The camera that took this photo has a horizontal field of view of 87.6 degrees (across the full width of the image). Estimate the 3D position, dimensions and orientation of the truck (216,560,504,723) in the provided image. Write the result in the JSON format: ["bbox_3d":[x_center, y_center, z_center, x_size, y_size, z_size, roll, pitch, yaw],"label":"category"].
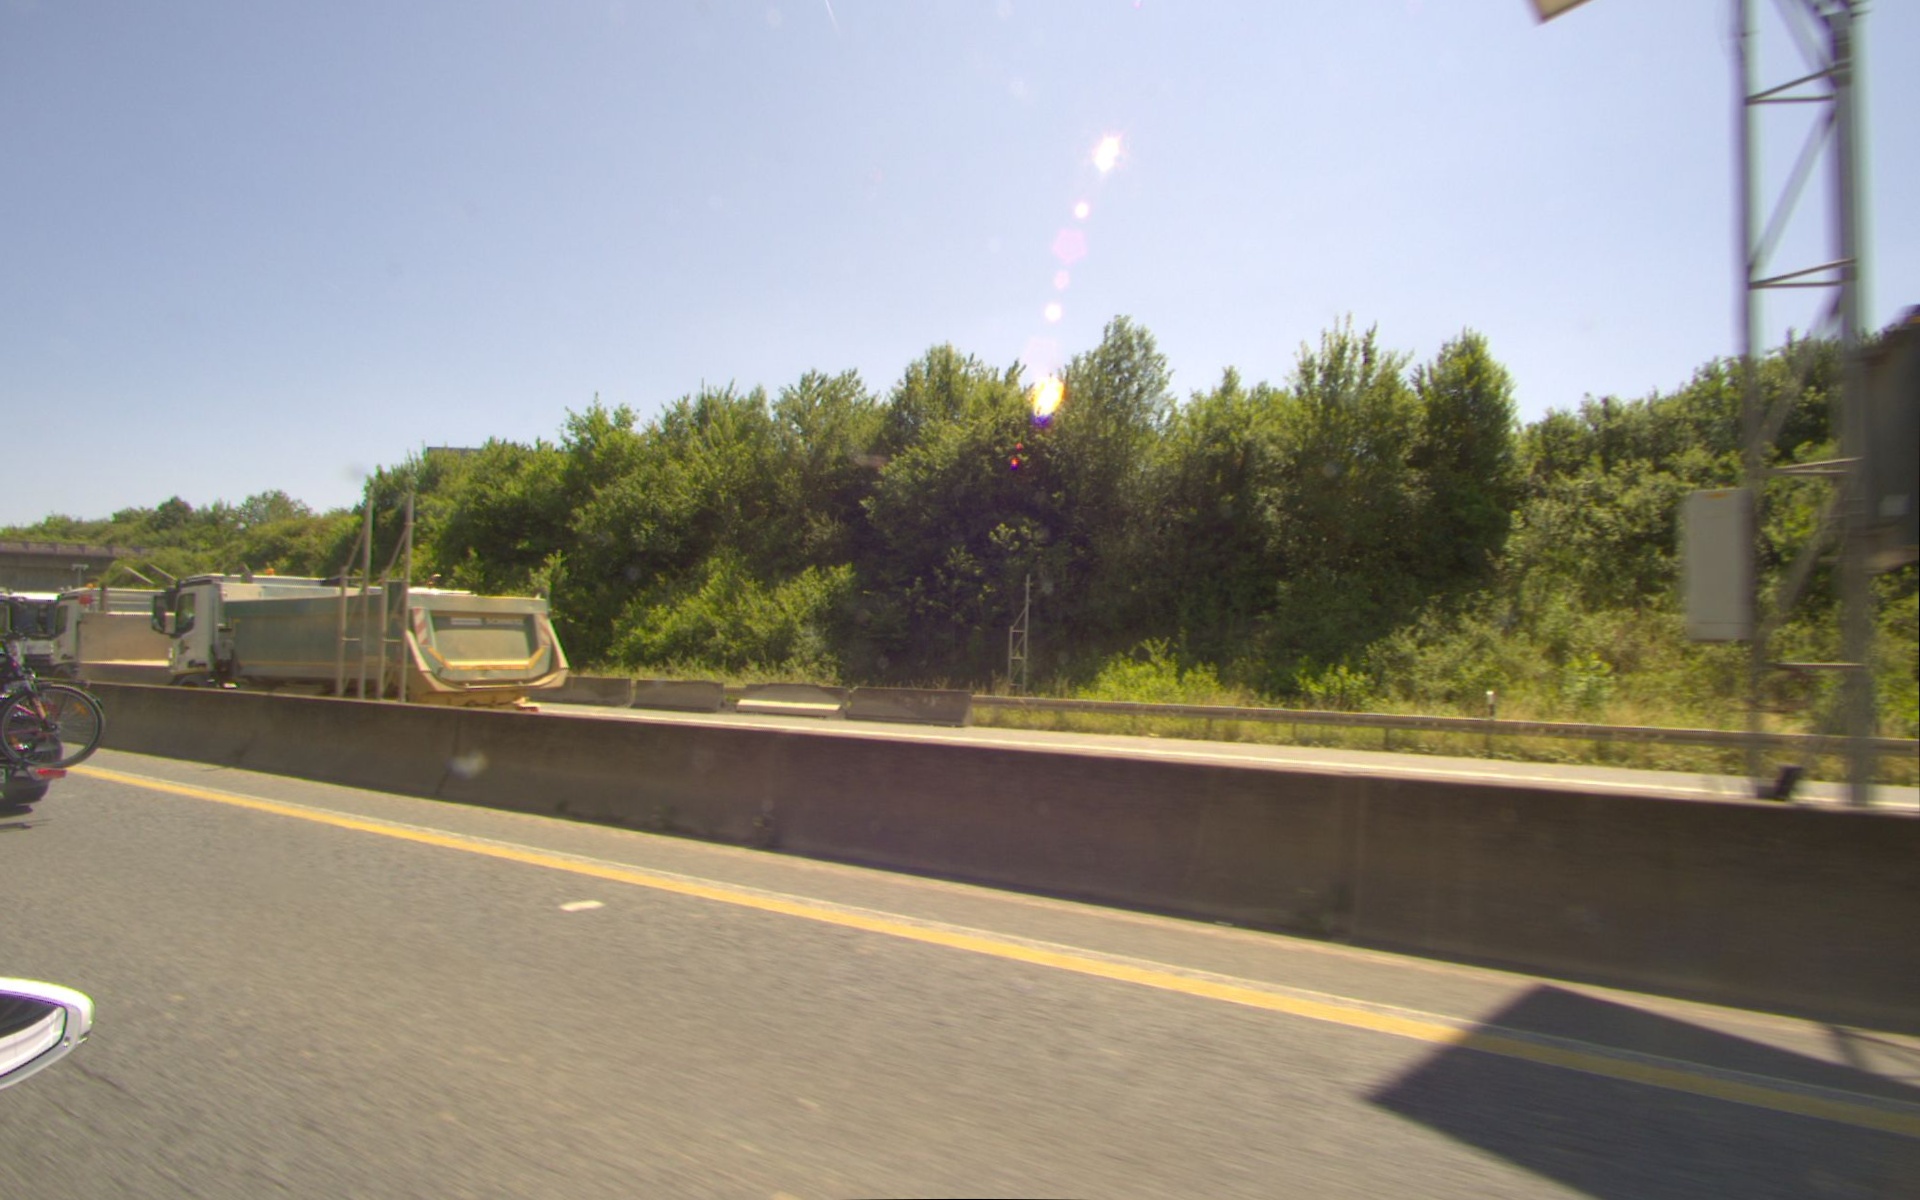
[{"bbox_3d":[-15.255,1.001,25.237,8.258,3.555,2.684,-1,-2,32],"label":"truck"}]

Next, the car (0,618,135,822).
[{"bbox_3d":[-9.244,0.932,8.607,4.877,1.509,1.896,-1,-3,32],"label":"car"}]

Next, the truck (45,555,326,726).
[{"bbox_3d":[-18.996,0.942,24.327,8.817,3.555,2.529,-1,-2,33],"label":"truck"}]

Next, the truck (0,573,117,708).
[{"bbox_3d":[-28.963,1.174,30.179,9.463,3.602,2.535,-1,-2,32],"label":"truck"}]

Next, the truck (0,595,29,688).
[{"bbox_3d":[-41.369,1.646,40.699,9.463,3.602,2.684,-1,-2,32],"label":"truck"}]

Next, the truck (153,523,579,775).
[{"bbox_3d":[-10.712,0.785,17.615,8.964,3.555,2.530,-1,-2,32],"label":"truck"}]
